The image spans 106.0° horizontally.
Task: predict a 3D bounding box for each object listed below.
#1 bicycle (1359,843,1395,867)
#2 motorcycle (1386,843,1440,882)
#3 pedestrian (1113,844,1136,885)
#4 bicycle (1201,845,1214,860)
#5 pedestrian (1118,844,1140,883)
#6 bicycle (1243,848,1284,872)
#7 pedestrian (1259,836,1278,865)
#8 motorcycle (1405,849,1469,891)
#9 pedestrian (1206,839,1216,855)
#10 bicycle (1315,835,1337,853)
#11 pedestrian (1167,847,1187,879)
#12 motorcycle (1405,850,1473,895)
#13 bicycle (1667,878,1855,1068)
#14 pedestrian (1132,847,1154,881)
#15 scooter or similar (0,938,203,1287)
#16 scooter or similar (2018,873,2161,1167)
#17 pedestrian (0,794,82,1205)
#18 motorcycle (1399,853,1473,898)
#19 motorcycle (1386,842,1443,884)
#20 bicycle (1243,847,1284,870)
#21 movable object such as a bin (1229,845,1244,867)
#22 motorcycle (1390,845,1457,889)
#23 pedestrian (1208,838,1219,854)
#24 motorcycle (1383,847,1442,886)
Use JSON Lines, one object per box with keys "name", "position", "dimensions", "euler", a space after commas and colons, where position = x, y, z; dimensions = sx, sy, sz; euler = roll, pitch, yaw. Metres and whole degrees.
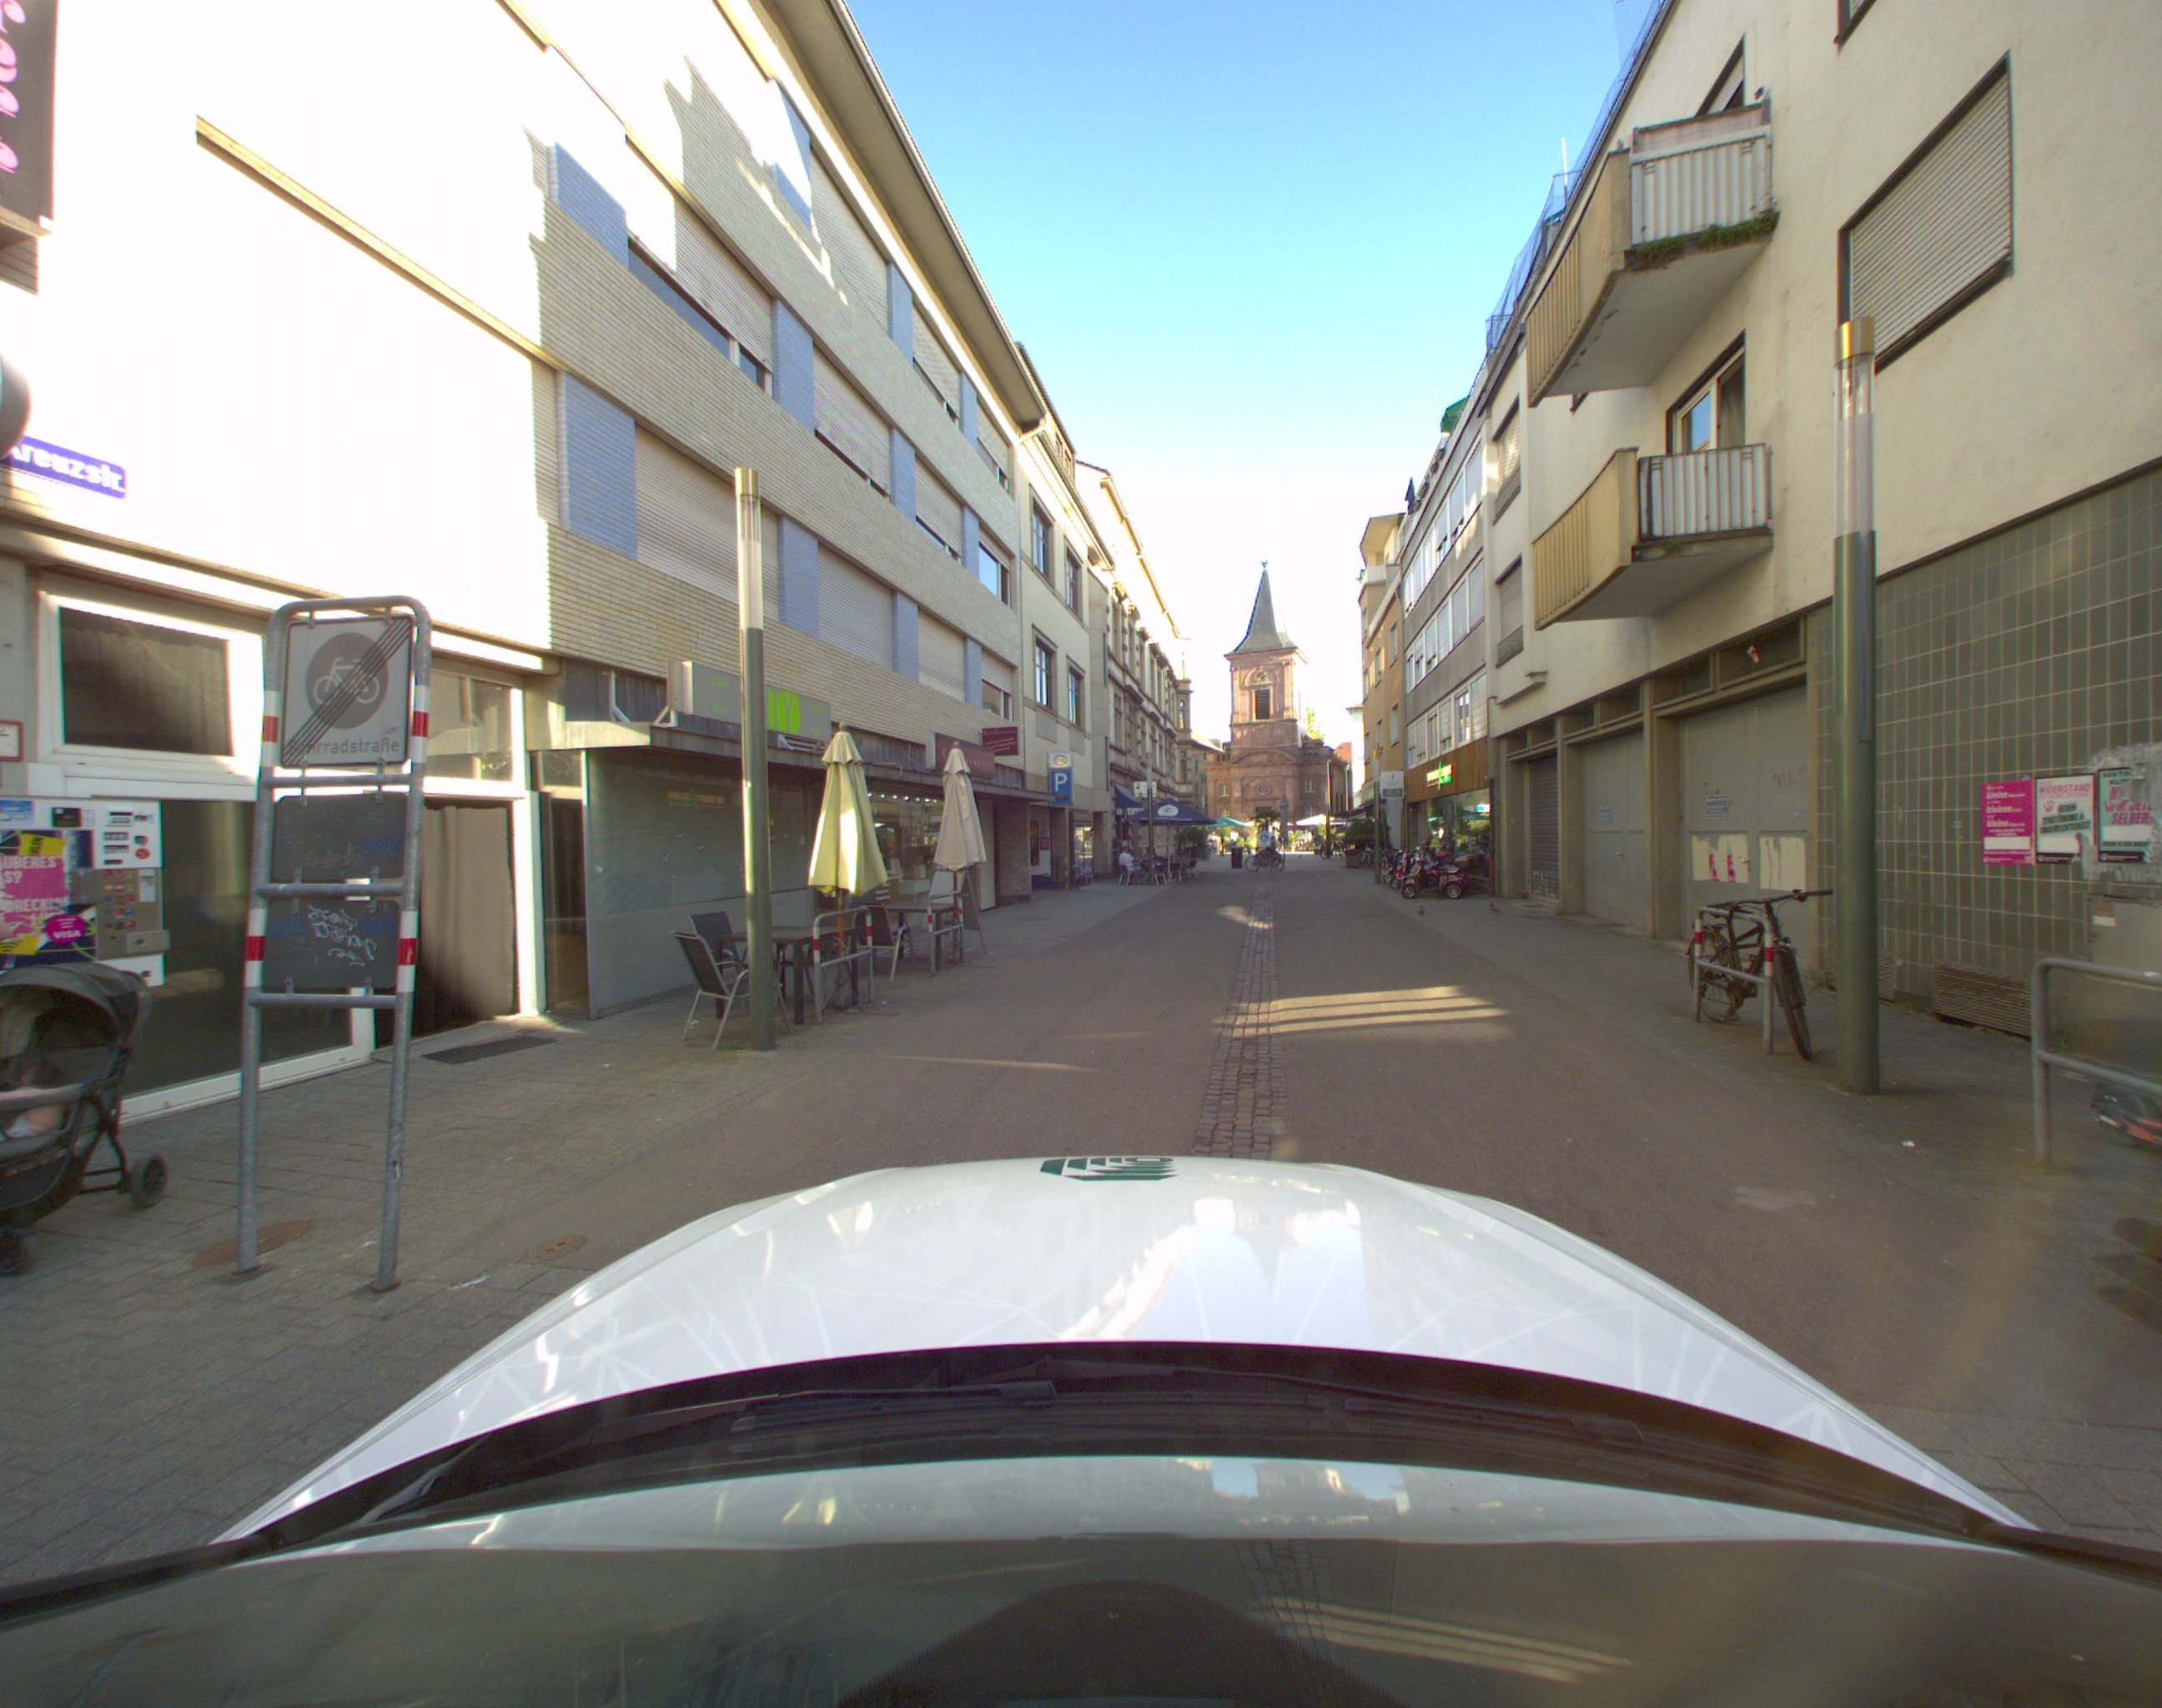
{"name": "bicycle", "position": [12.954, 0.053, 35.605], "dimensions": [1.451, 1.004, 0.576], "euler": [-1, 1, 19]}
{"name": "motorcycle", "position": [10.213, 0.265, 25.049], "dimensions": [1.470, 1.181, 0.415], "euler": [-2, 0, 28]}
{"name": "pedestrian", "position": [1.485, 0.359, 27.941], "dimensions": [0.705, 1.368, 0.720], "euler": [-1, 1, 1]}
{"name": "bicycle", "position": [7.719, -0.075, 49.704], "dimensions": [0.453, 0.849, 2.156], "euler": [-1, 1, 16]}
{"name": "pedestrian", "position": [1.705, 0.322, 28.927], "dimensions": [0.715, 1.368, 0.710], "euler": [-1, 1, 1]}
{"name": "bicycle", "position": [8.280, 0.270, 36.974], "dimensions": [1.813, 1.004, 0.382], "euler": [-1, 1, 9]}
{"name": "pedestrian", "position": [9.543, -0.172, 41.459], "dimensions": [0.877, 1.464, 0.733], "euler": [-1, 1, 13]}
{"name": "motorcycle", "position": [9.310, 0.423, 21.294], "dimensions": [1.469, 1.075, 0.415], "euler": [-2, 0, 31]}
{"name": "pedestrian", "position": [10.187, -0.558, 63.827], "dimensions": [0.695, 1.218, 0.723], "euler": [-1, 1, 18]}
{"name": "bicycle", "position": [18.476, -0.789, 61.446], "dimensions": [1.589, 1.308, 0.364], "euler": [-2, 1, -17]}
{"name": "pedestrian", "position": [3.673, 0.341, 31.162], "dimensions": [0.689, 1.215, 0.584], "euler": [-1, 1, 5]}
{"name": "motorcycle", "position": [8.918, 0.469, 20.302], "dimensions": [1.502, 1.075, 0.415], "euler": [-2, 0, 31]}
{"name": "bicycle", "position": [4.912, 0.775, 6.004], "dimensions": [0.443, 1.140, 1.718], "euler": [-1, 0, 18]}
{"name": "pedestrian", "position": [2.345, 0.365, 30.699], "dimensions": [0.761, 1.233, 0.832], "euler": [-1, 1, 5]}
{"name": "scooter or similar", "position": [-4.273, 0.991, 3.269], "dimensions": [0.802, 1.143, 0.943], "euler": [-2, 2, -35]}
{"name": "scooter or similar", "position": [4.840, 0.732, 3.520], "dimensions": [0.305, 1.252, 1.242], "euler": [-1, 1, 9]}
{"name": "pedestrian", "position": [-5.179, 0.655, 3.636], "dimensions": [0.663, 1.819, 0.564], "euler": [-5, 4, -36]}
{"name": "motorcycle", "position": [8.508, 0.512, 19.540], "dimensions": [1.549, 1.041, 0.375], "euler": [-2, 0, 31]}
{"name": "motorcycle", "position": [9.828, 0.272, 24.012], "dimensions": [1.470, 1.181, 0.415], "euler": [-2, 0, 28]}
{"name": "bicycle", "position": [8.368, 0.190, 37.363], "dimensions": [1.813, 1.004, 0.382], "euler": [-1, 1, 9]}
{"name": "movable object such as a bin", "position": [7.756, 0.120, 40.571], "dimensions": [0.716, 1.074, 0.375], "euler": [-1, 1, 11]}
{"name": "motorcycle", "position": [9.446, 0.356, 22.474], "dimensions": [1.609, 1.175, 0.483], "euler": [-2, 1, 31]}
{"name": "pedestrian", "position": [10.609, -0.653, 65.203], "dimensions": [0.695, 1.218, 0.723], "euler": [-1, 1, 18]}
{"name": "motorcycle", "position": [9.477, 0.372, 23.297], "dimensions": [1.469, 1.075, 0.415], "euler": [-2, 0, 31]}
